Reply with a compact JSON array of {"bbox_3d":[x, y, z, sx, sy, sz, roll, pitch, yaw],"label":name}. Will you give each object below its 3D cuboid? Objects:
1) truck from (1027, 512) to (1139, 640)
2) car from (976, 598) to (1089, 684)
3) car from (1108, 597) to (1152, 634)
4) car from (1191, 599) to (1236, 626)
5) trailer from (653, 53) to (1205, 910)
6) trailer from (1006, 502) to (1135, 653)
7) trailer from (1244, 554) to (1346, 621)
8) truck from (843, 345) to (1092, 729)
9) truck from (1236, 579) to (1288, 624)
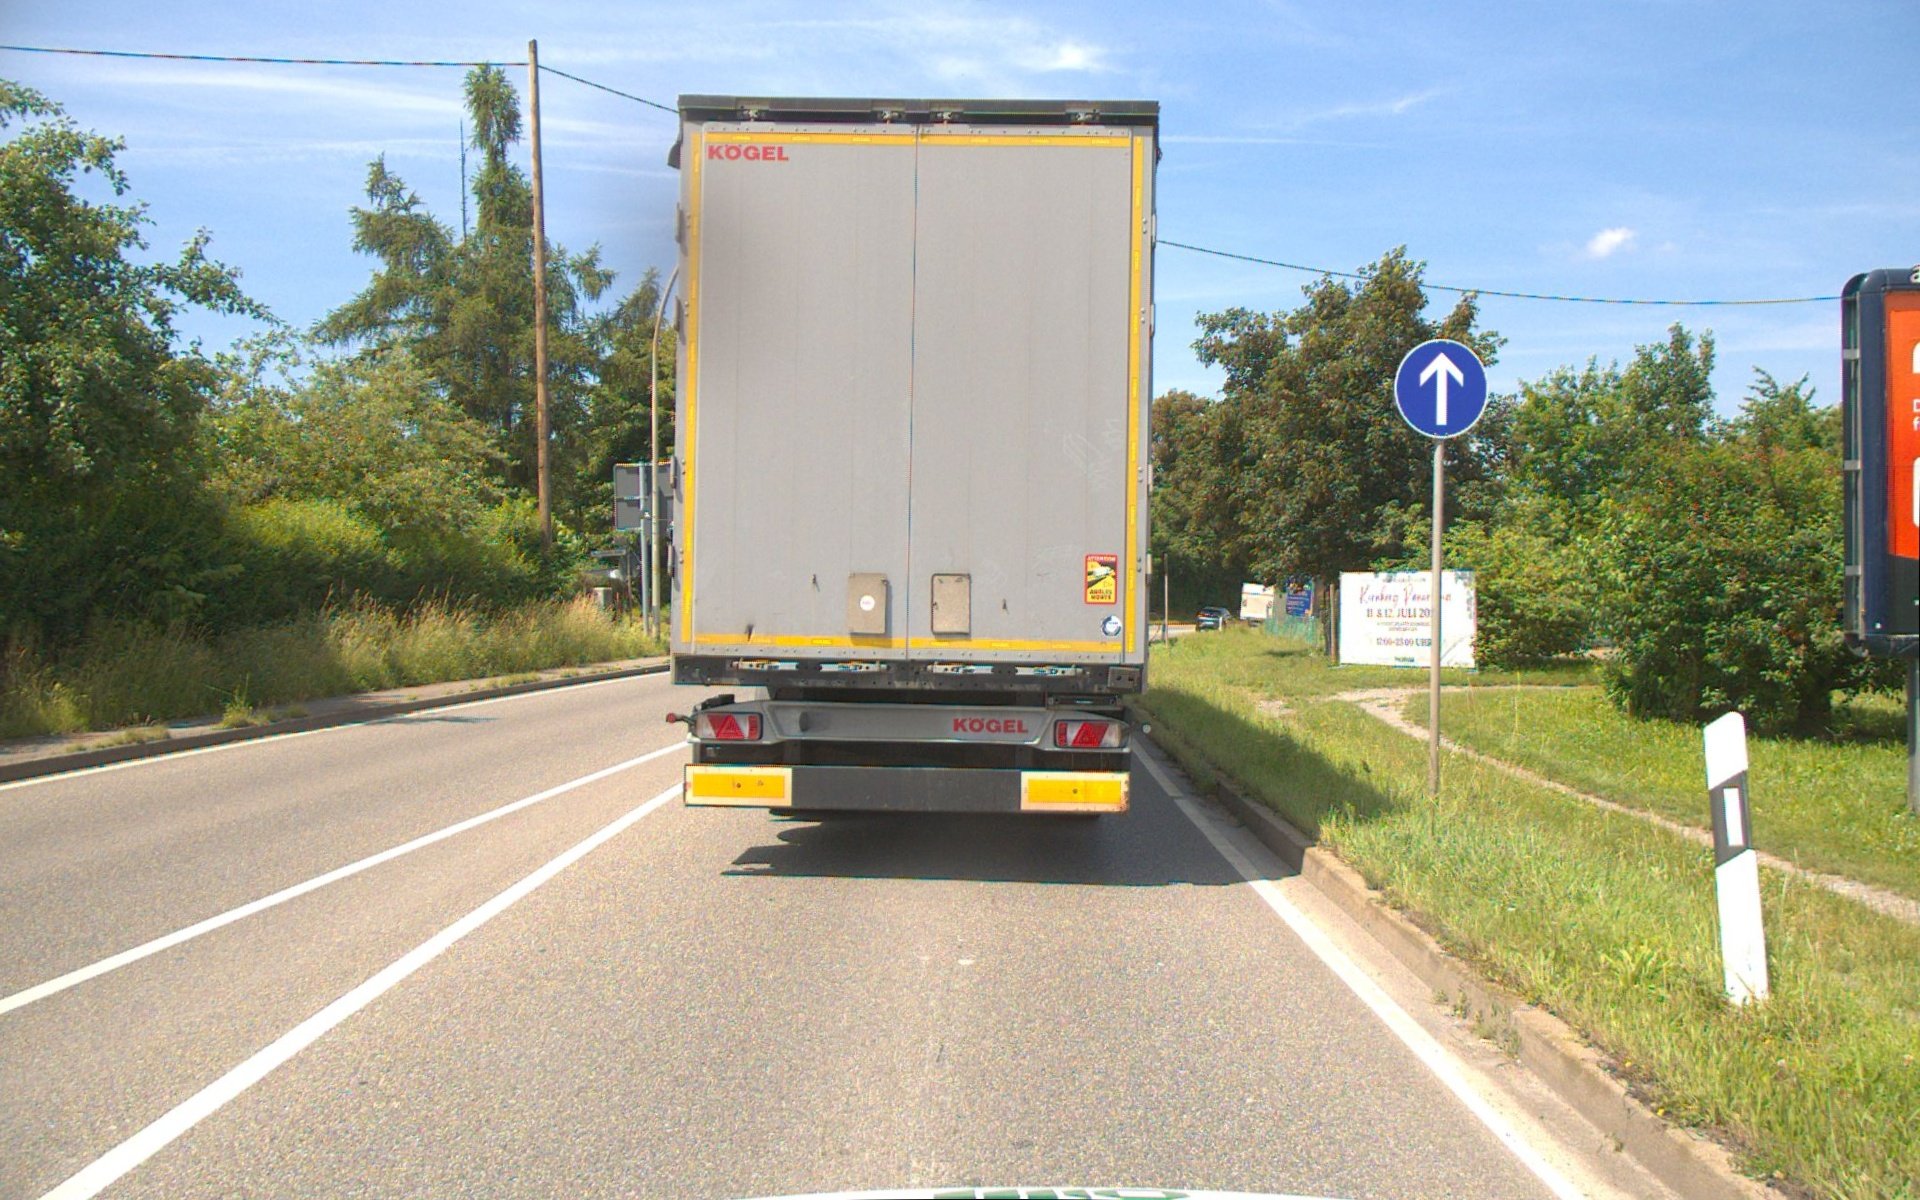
[{"bbox_3d":[4.856,-0.886,63.707,3.853,4.655,7.157,0,0,8],"label":"truck"},{"bbox_3d":[1.500,0.759,32.892,1.951,1.557,4.003,1,0,6],"label":"car"},{"bbox_3d":[9.055,0.790,87.883,1.951,1.870,4.004,1,1,11],"label":"car"},{"bbox_3d":[14.969,0.698,97.564,1.803,1.512,4.000,1,1,21],"label":"car"},{"bbox_3d":[0.015,-0.674,14.367,2.729,4.278,12.114,1,1,2],"label":"trailer"},{"bbox_3d":[4.036,-0.770,56.934,3.808,4.600,12.723,0,1,6],"label":"trailer"},{"bbox_3d":[25.438,-0.950,124.659,5.072,4.709,15.898,1,1,20],"label":"trailer"},{"bbox_3d":[0.316,-0.748,21.447,2.688,4.238,6.147,1,1,5],"label":"truck"},{"bbox_3d":[19.914,0.069,108.931,2.371,2.888,5.412,0,1,21],"label":"truck"}]
